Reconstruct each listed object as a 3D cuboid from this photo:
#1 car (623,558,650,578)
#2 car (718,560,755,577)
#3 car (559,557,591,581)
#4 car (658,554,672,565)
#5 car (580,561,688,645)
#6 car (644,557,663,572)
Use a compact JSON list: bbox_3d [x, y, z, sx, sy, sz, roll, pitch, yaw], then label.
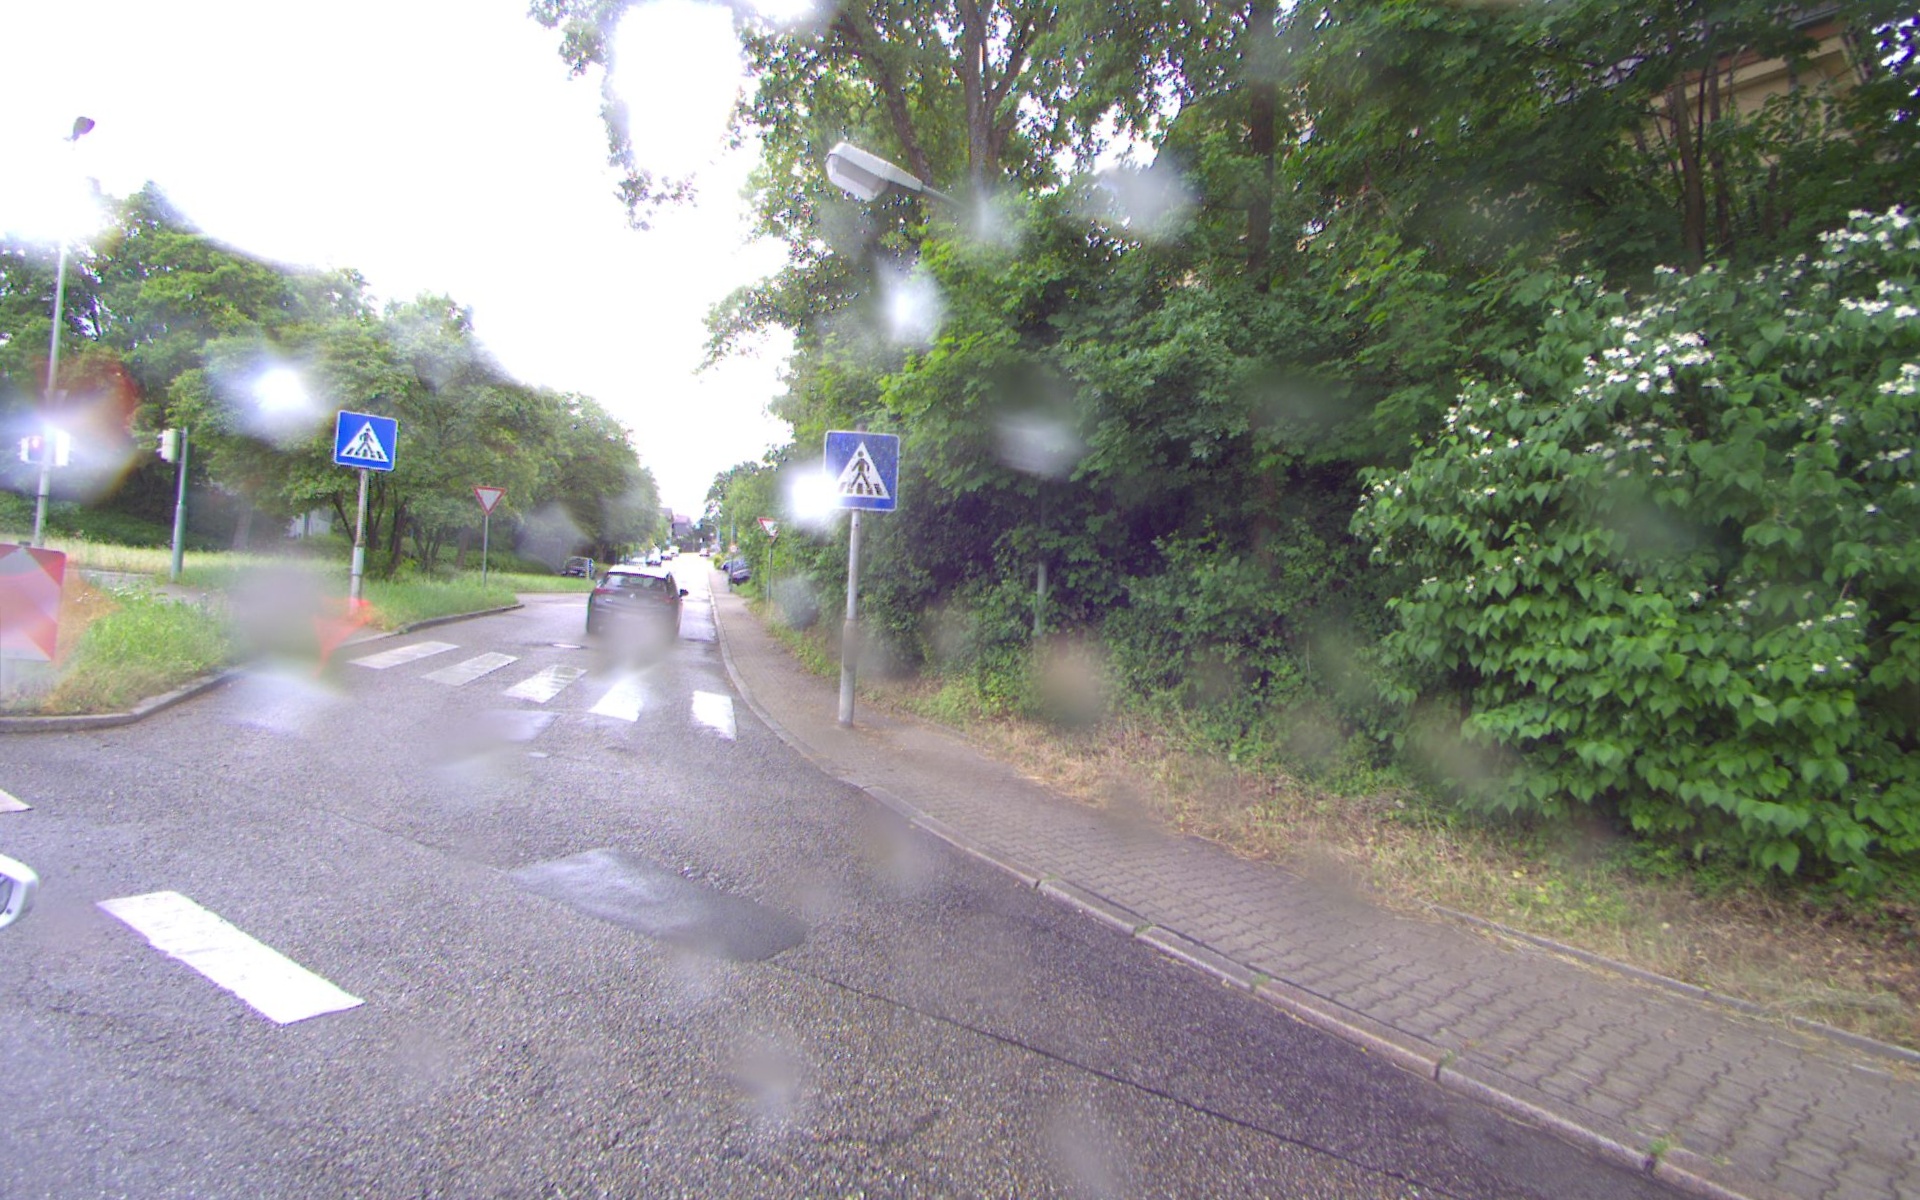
[{"bbox_3d":[-30.113,-2.987,93.731,1.874,1.467,4.285,7,-2,-13],"label":"car"},{"bbox_3d":[-25.782,-3.642,116.095,3.939,1.594,1.766,5,1,-18],"label":"car"},{"bbox_3d":[-25.893,-2.059,67.736,1.651,1.387,3.477,6,0,-16],"label":"car"},{"bbox_3d":[-46.791,-6.378,159.511,1.877,1.413,4.151,7,-2,-20],"label":"car"},{"bbox_3d":[-6.925,-0.008,21.745,1.788,1.461,4.149,6,1,-14],"label":"car"},{"bbox_3d":[-37.721,-4.377,123.646,1.968,1.463,4.278,7,-2,-19],"label":"car"}]
